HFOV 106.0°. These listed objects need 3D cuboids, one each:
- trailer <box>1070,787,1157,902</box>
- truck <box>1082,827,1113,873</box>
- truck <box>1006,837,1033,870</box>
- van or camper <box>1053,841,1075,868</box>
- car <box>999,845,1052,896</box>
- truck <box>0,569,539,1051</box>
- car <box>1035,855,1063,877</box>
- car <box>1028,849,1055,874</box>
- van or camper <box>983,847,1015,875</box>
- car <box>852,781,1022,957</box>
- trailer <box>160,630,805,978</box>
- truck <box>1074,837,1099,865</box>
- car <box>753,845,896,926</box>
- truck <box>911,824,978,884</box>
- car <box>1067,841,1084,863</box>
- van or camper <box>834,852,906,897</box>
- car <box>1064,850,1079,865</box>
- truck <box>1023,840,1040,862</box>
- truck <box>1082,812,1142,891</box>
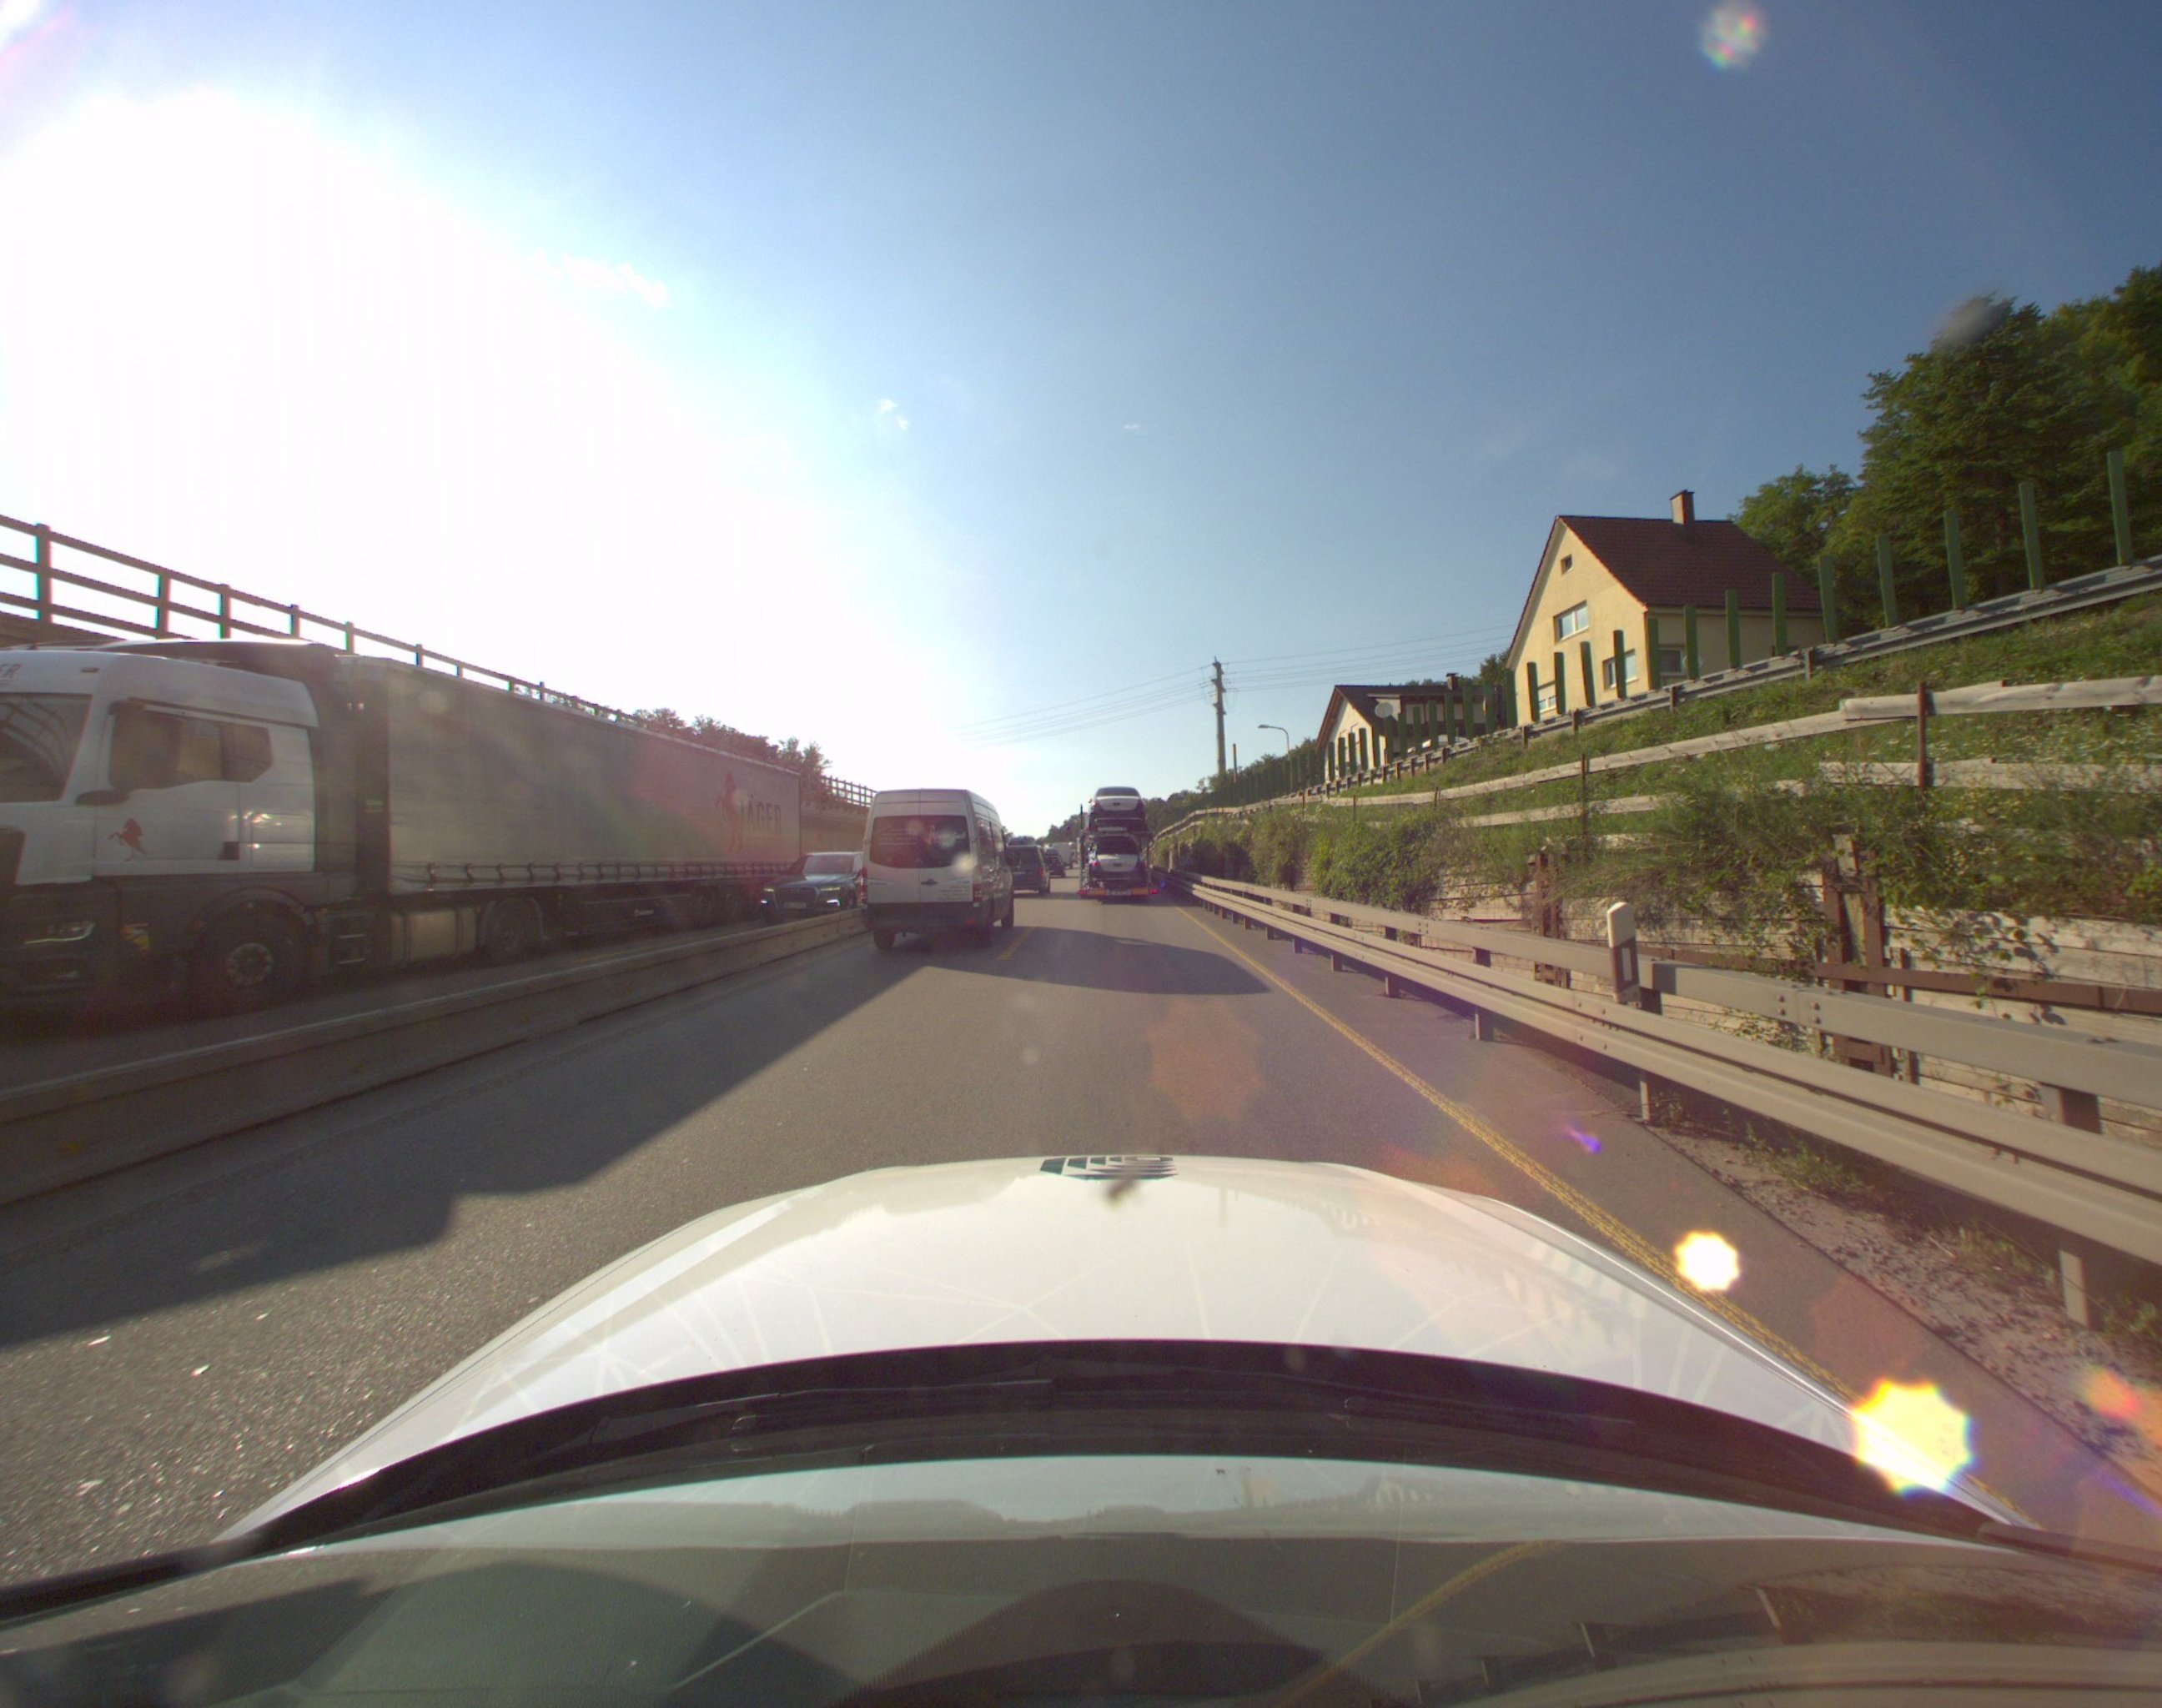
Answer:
[{"bbox_3d":[1.284,-0.194,33.029,2.672,3.535,15.294,-1,-1,2],"label":"trailer"},{"bbox_3d":[1.737,-0.392,87.020,2.899,4.606,7.281,-1,0,-1],"label":"truck"},{"bbox_3d":[-8.155,-0.046,108.733,2.616,4.112,9.625,-4,0,0],"label":"truck"},{"bbox_3d":[-1.664,0.115,81.763,1.961,2.592,5.043,0,-1,1],"label":"van or camper"},{"bbox_3d":[-2.149,0.660,32.595,1.802,1.904,3.999,0,-1,0],"label":"car"},{"bbox_3d":[-9.768,-0.323,9.599,2.850,4.008,5.659,0,-1,1],"label":"truck"},{"bbox_3d":[-2.193,0.807,56.888,1.719,1.522,3.973,0,0,0],"label":"car"},{"bbox_3d":[-4.145,0.829,86.011,2.463,2.534,4.001,-1,-1,1],"label":"car"},{"bbox_3d":[-8.237,0.691,82.111,2.303,2.662,6.456,-3,0,1],"label":"van or camper"},{"bbox_3d":[-2.424,0.233,15.321,1.986,2.648,5.532,-2,0,2],"label":"car"},{"bbox_3d":[-9.632,-0.504,16.839,2.903,4.240,13.770,0,-1,1],"label":"trailer"},{"bbox_3d":[1.019,-0.472,143.792,4.050,4.679,10.596,-1,0,2],"label":"truck"},{"bbox_3d":[-6.196,0.729,20.356,1.815,1.772,5.141,0,-1,1],"label":"car"},{"bbox_3d":[-8.737,0.055,53.276,2.705,3.424,8.141,-4,-1,1],"label":"truck"},{"bbox_3d":[-1.337,-0.381,191.161,3.437,5.035,9.642,-1,0,-3],"label":"car"},{"bbox_3d":[-9.595,0.886,37.371,1.910,1.922,4.924,-1,0,1],"label":"van or camper"},{"bbox_3d":[-1.239,0.478,110.534,1.879,2.100,3.766,-1,0,1],"label":"car"},{"bbox_3d":[-9.705,-0.504,161.165,2.975,4.153,15.842,-1,0,-2],"label":"truck"},{"bbox_3d":[1.536,-0.069,40.596,2.672,3.535,7.196,-1,-1,2],"label":"truck"}]
